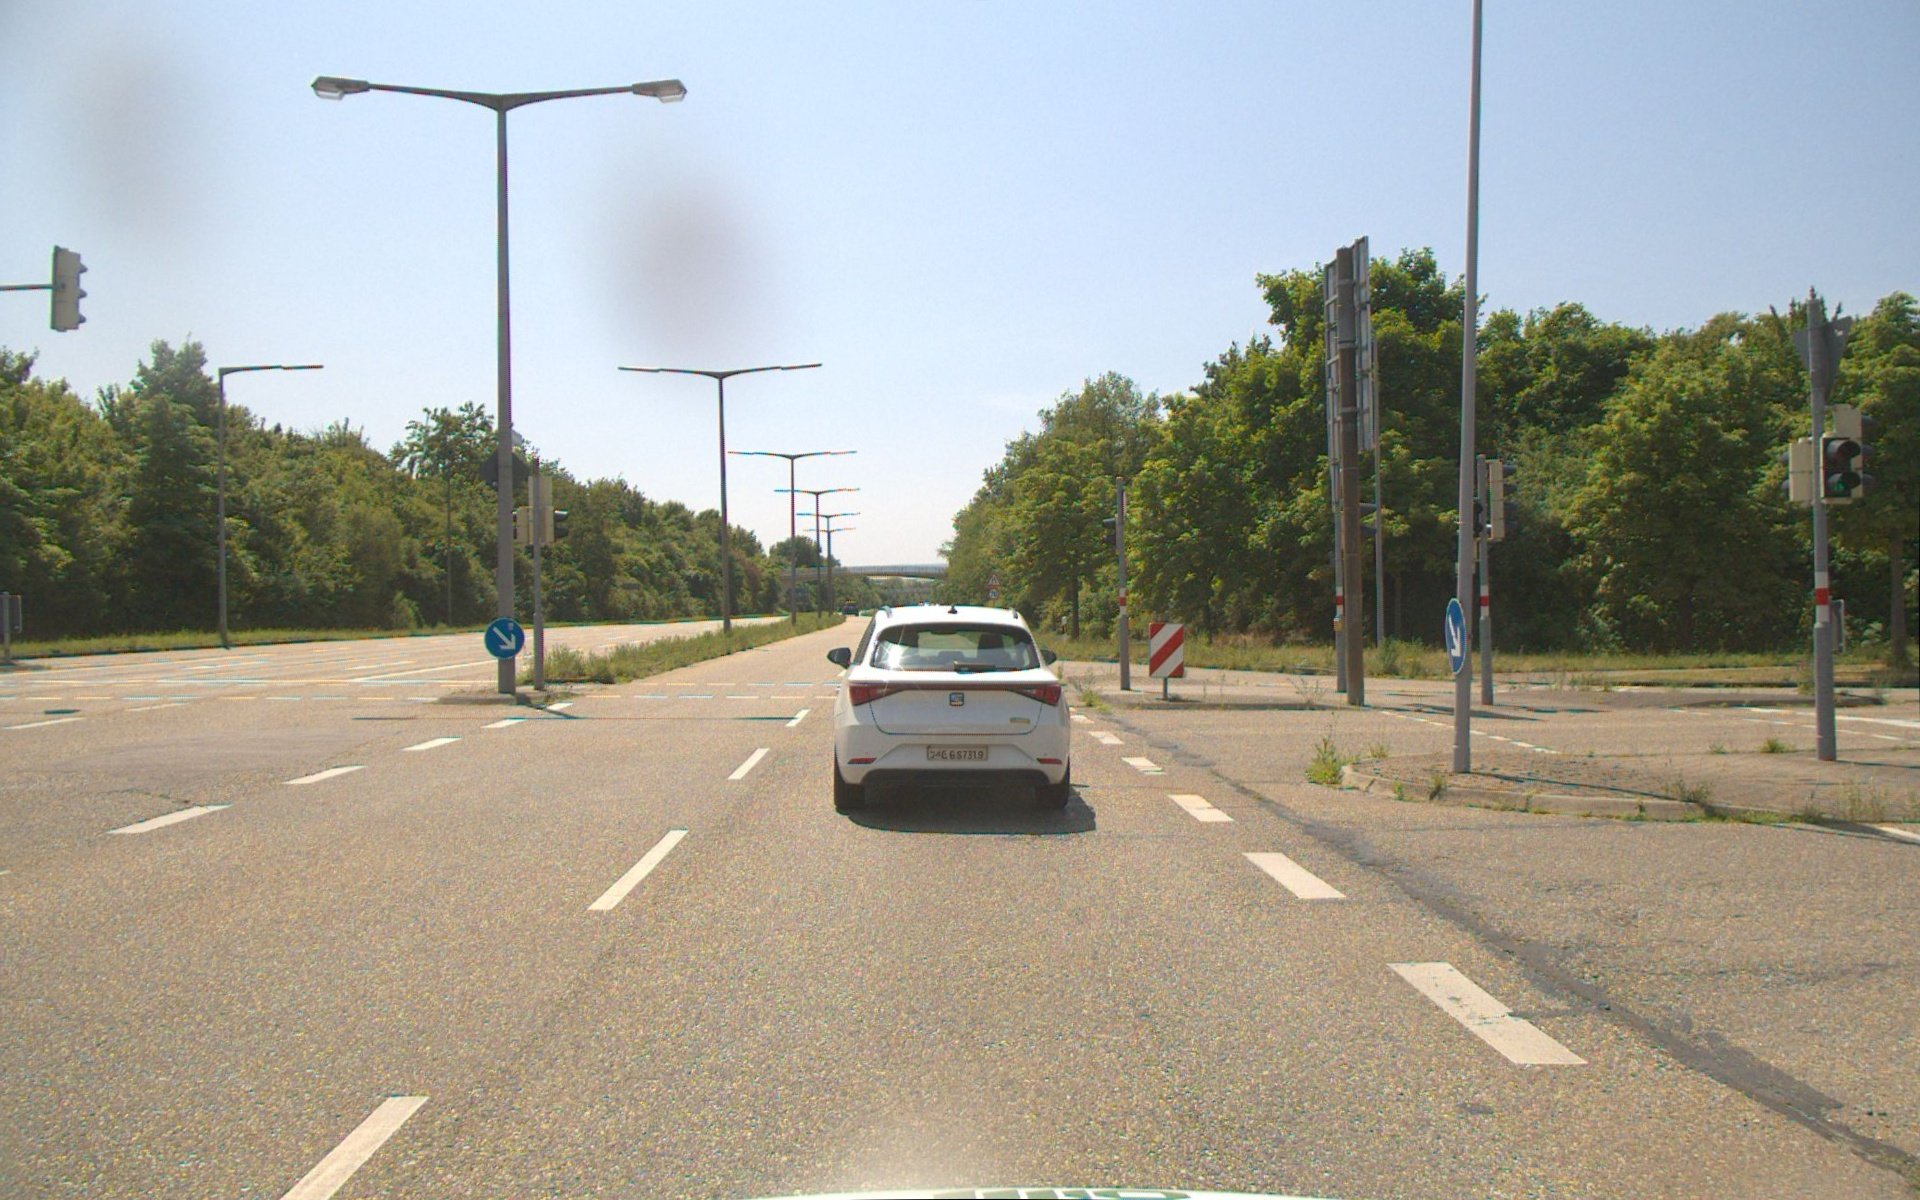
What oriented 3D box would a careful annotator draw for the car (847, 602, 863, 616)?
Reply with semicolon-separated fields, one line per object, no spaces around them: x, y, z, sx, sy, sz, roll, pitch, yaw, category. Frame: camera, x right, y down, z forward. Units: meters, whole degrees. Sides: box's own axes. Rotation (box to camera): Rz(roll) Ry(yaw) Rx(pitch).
-13.448;1.089;212.138;1.816;1.739;4.000;-1;0;1;car

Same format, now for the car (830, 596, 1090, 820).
-0.029;0.740;12.810;1.699;1.453;3.693;1;-1;-1;car

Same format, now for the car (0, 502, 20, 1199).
-3.024;0.619;1.493;1.767;1.691;4.643;0;0;-1;car
